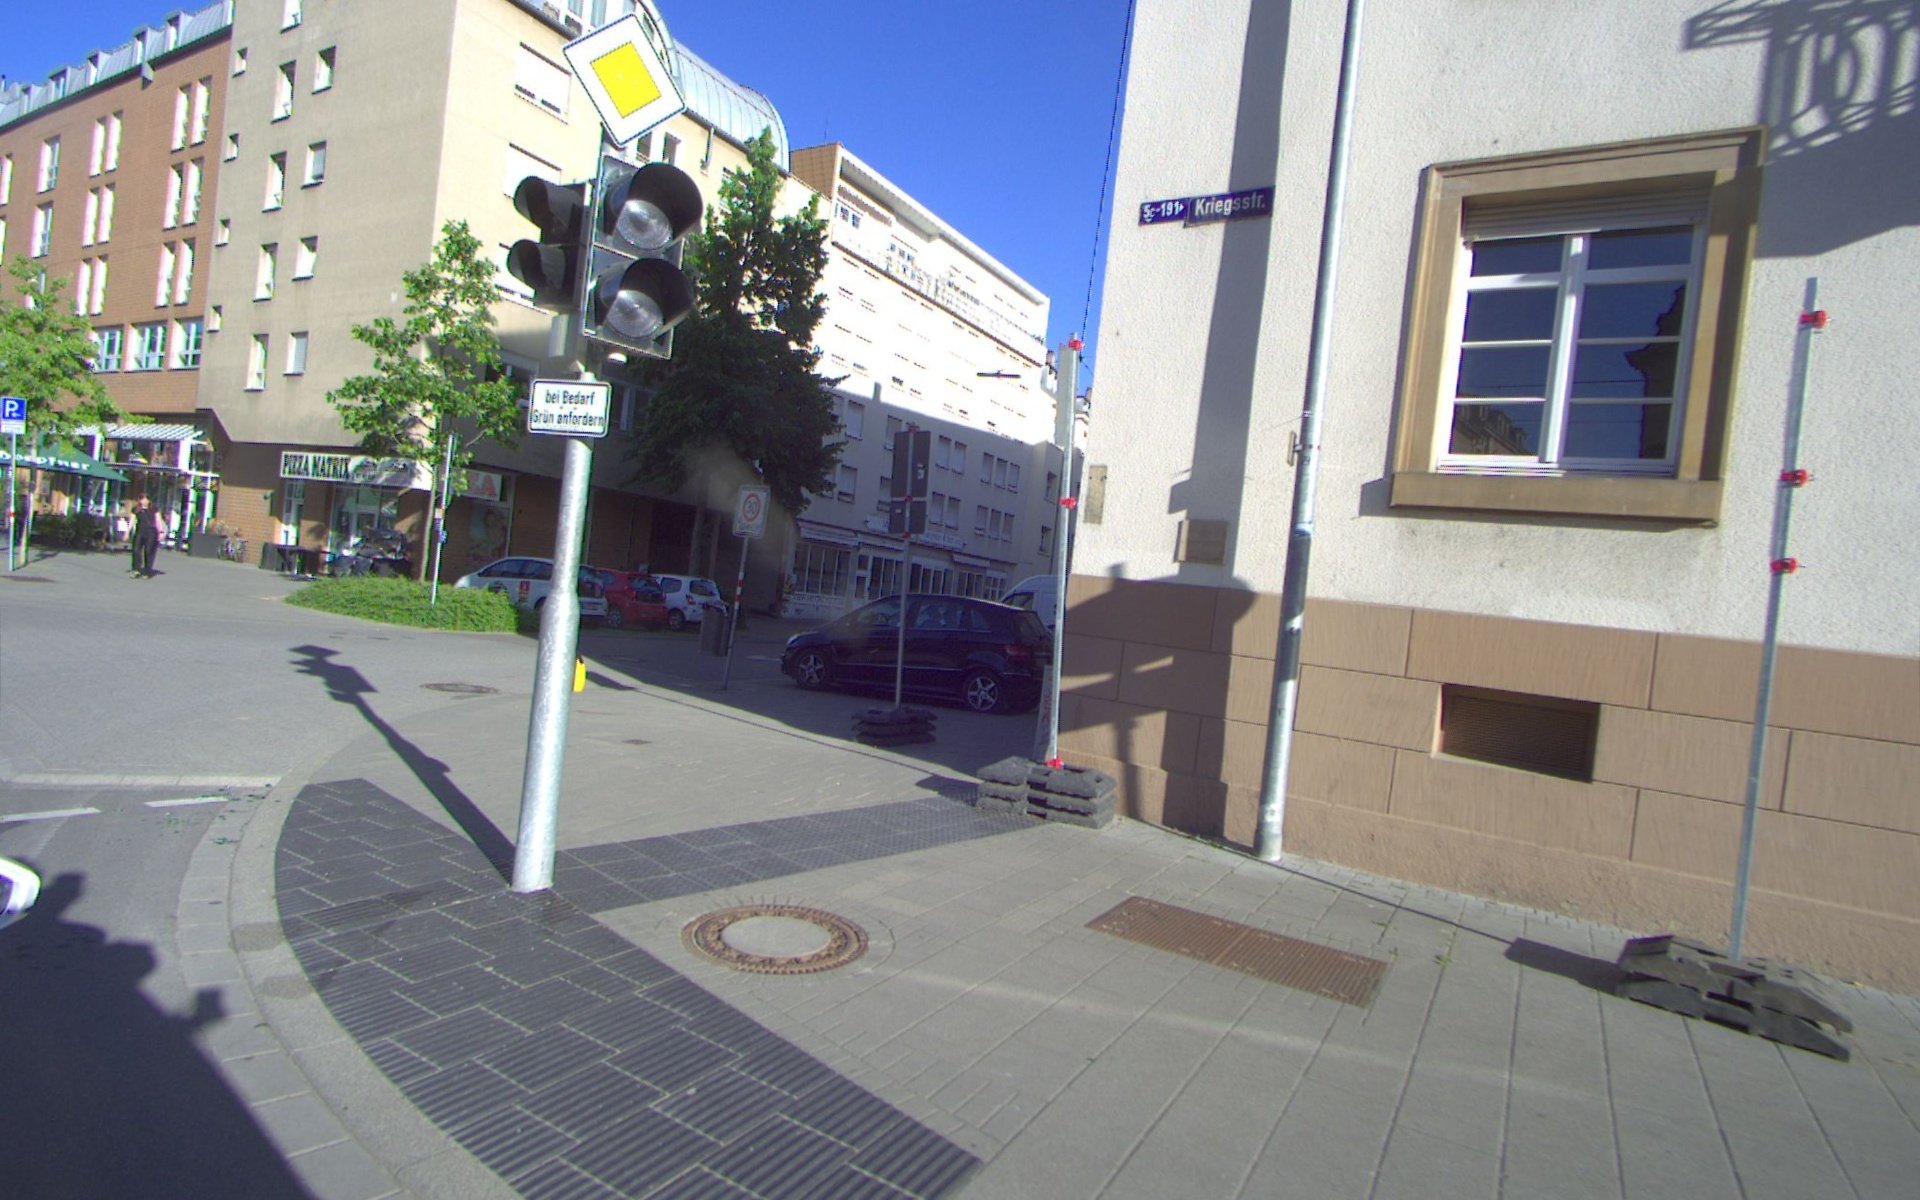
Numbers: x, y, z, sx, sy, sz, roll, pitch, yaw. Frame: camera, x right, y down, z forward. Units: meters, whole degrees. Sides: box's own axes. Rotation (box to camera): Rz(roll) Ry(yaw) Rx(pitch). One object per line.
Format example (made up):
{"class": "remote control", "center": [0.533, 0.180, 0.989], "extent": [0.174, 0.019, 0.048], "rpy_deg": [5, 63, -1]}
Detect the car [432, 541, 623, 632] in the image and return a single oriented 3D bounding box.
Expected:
{"class": "car", "center": [-9.875, -0.305, 23.008], "extent": [3.765, 1.491, 1.669], "rpy_deg": [7, -1, 20]}

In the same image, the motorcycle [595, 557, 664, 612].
{"class": "motorcycle", "center": [-11.164, -0.510, 34.099], "extent": [0.641, 1.626, 2.263], "rpy_deg": [7, 0, 28]}

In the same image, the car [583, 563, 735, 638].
{"class": "car", "center": [-8.195, 0.019, 27.377], "extent": [3.667, 1.472, 1.638], "rpy_deg": [7, -2, 25]}

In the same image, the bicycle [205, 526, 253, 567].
{"class": "bicycle", "center": [-24.087, -1.767, 33.144], "extent": [1.510, 1.185, 0.614], "rpy_deg": [7, 2, 29]}

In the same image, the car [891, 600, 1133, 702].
{"class": "car", "center": [1.026, 0.992, 19.921], "extent": [4.358, 1.445, 1.699], "rpy_deg": [6, -2, 21]}

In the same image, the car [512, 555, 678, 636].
{"class": "car", "center": [-9.122, -0.105, 25.154], "extent": [3.589, 1.469, 1.638], "rpy_deg": [7, -2, 22]}

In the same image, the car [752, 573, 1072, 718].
{"class": "car", "center": [-0.735, 0.660, 15.021], "extent": [4.360, 1.705, 1.698], "rpy_deg": [4, -3, 24]}

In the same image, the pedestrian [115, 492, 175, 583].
{"class": "pedestrian", "center": [-17.198, -1.306, 21.255], "extent": [0.879, 1.786, 1.094], "rpy_deg": [4, 2, -38]}

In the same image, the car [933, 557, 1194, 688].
{"class": "car", "center": [2.505, 0.503, 24.483], "extent": [5.853, 2.641, 1.928], "rpy_deg": [4, 0, 21]}

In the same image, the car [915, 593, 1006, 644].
{"class": "car", "center": [0.103, 0.776, 40.518], "extent": [1.963, 1.719, 4.395], "rpy_deg": [7, 1, 23]}

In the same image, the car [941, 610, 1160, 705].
{"class": "car", "center": [1.978, 1.248, 22.037], "extent": [4.358, 1.496, 1.699], "rpy_deg": [6, -2, 22]}

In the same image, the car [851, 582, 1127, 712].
{"class": "car", "center": [0.500, 0.784, 17.419], "extent": [4.357, 1.707, 1.629], "rpy_deg": [5, -1, 20]}
